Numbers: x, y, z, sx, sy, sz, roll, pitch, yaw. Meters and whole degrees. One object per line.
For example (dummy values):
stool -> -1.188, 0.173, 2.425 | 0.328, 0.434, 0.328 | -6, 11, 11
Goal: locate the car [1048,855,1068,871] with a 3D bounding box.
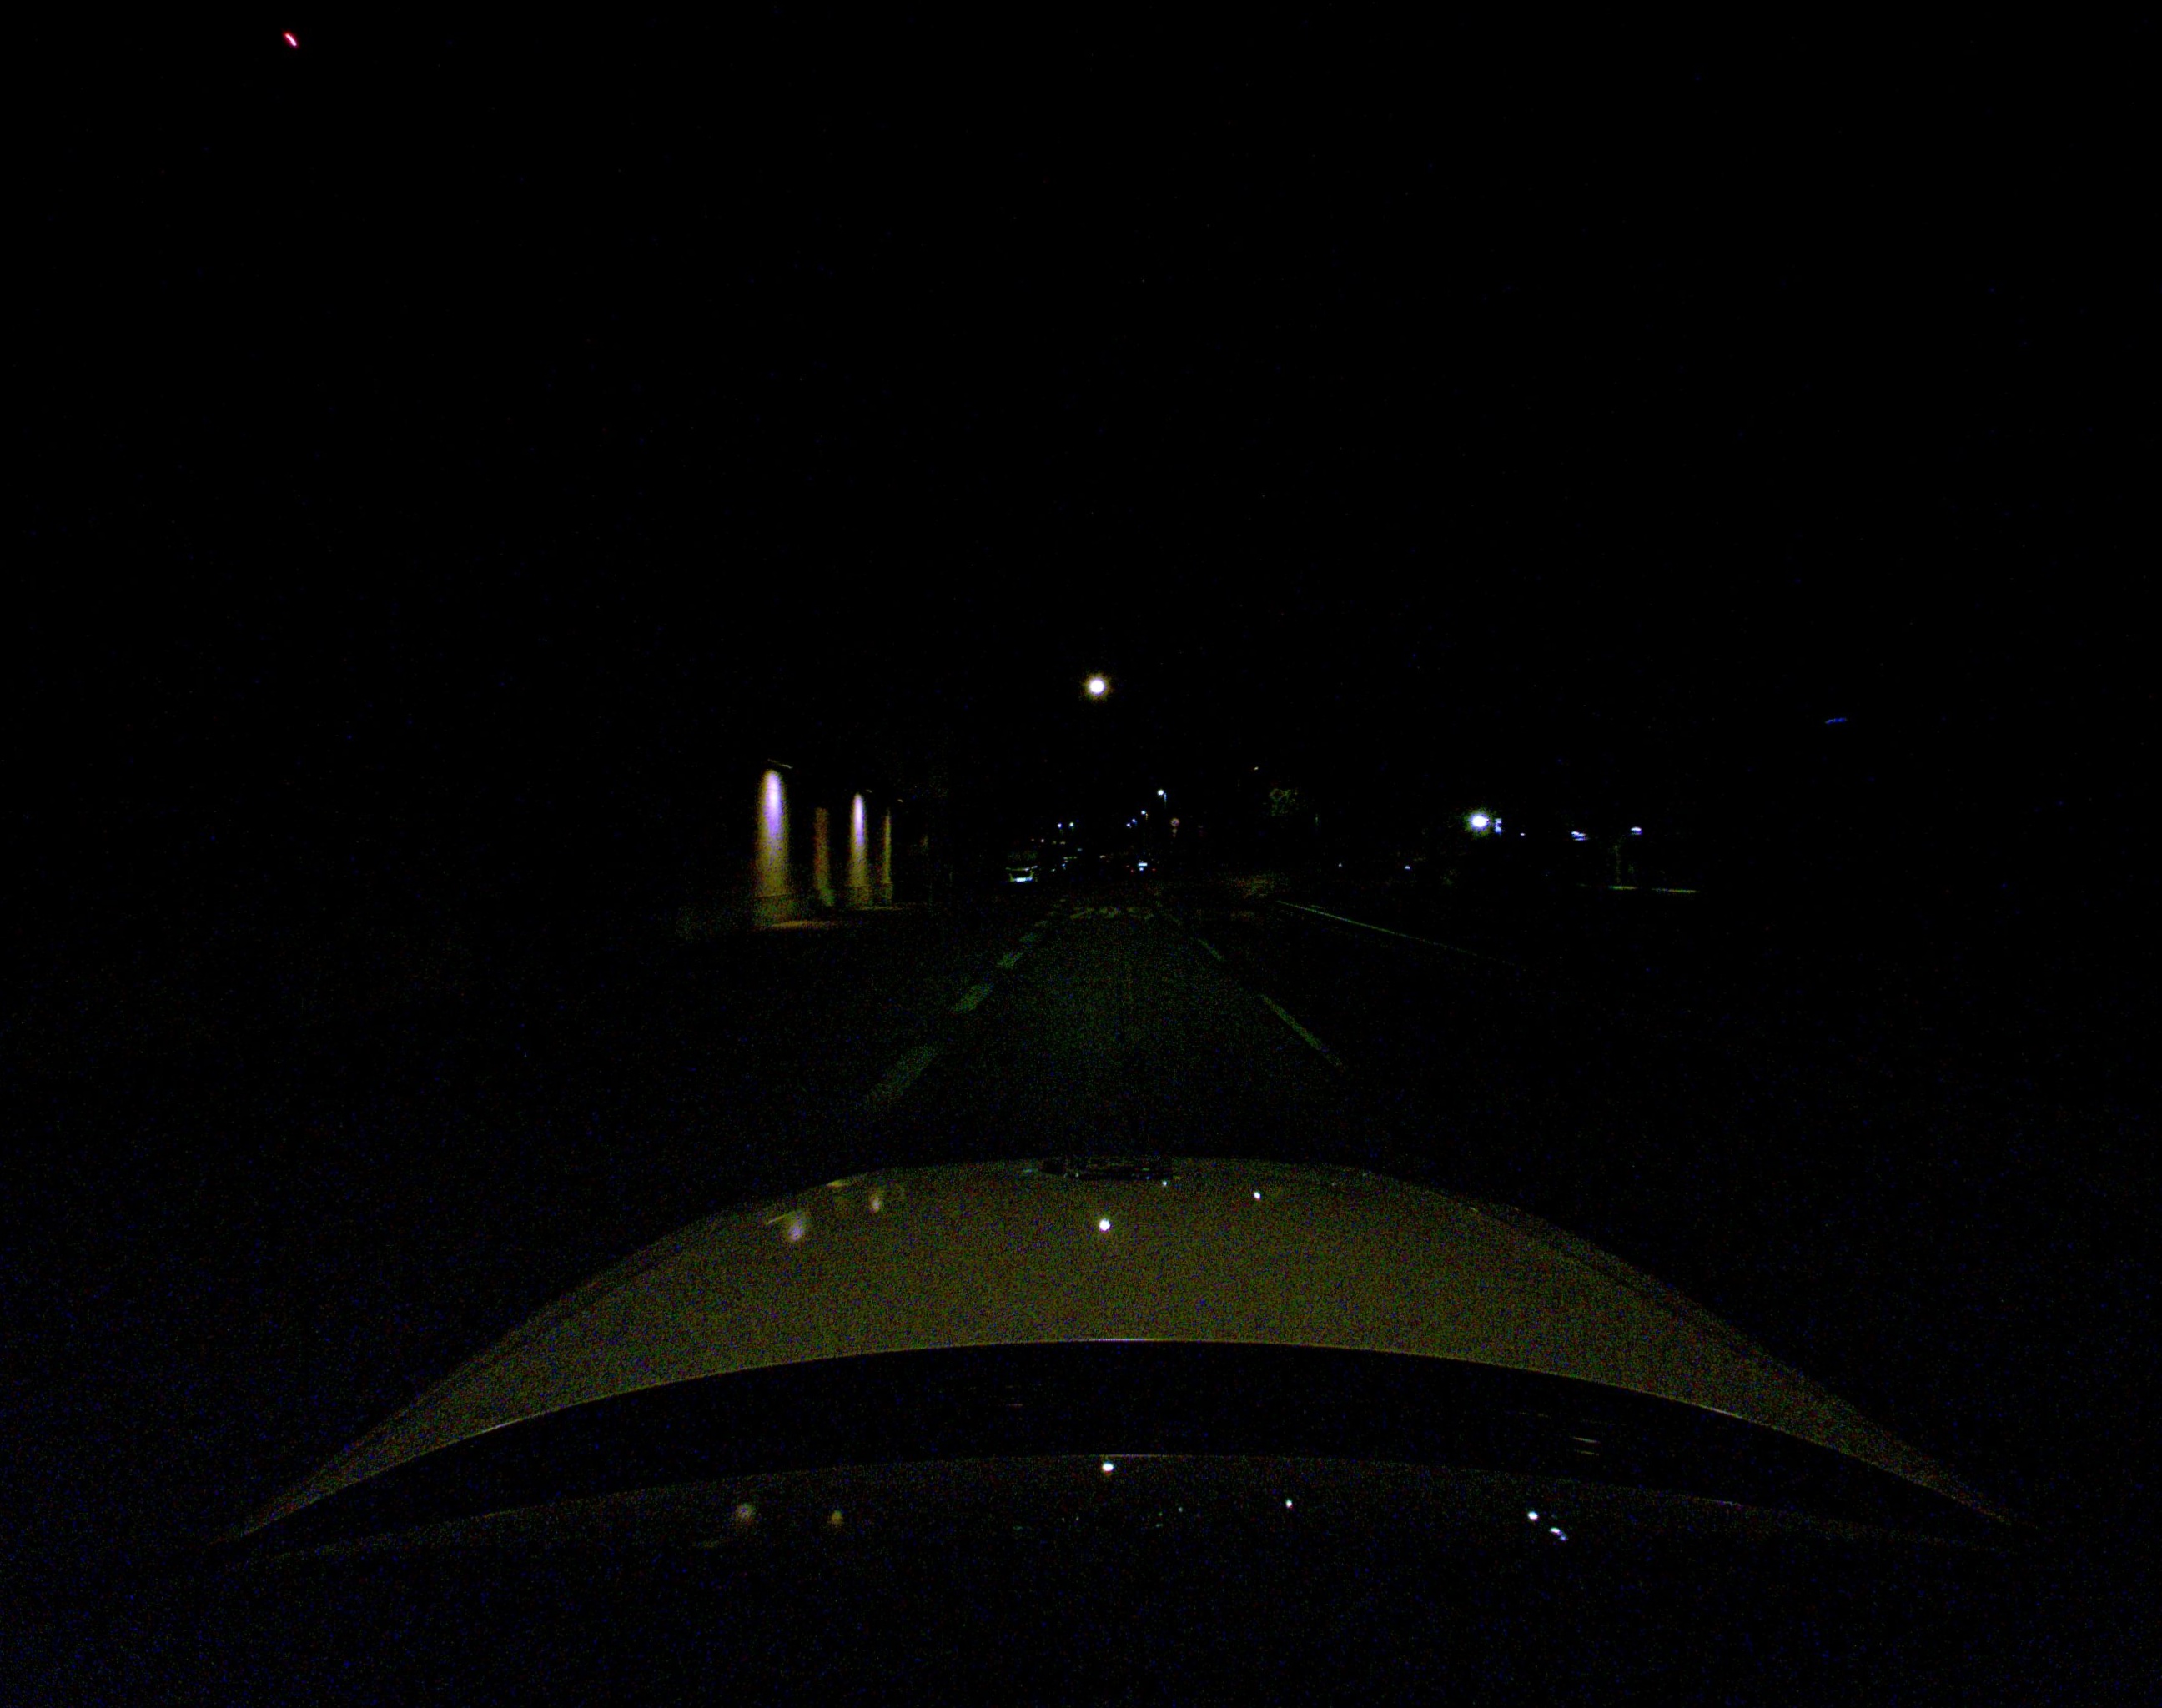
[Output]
car -> -2.179, 0.868, 78.127 | 1.699, 1.510, 4.100 | 0, -1, 1

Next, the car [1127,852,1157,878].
car -> 4.086, 0.713, 55.018 | 1.876, 1.603, 4.111 | -2, -1, 3

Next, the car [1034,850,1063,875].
car -> -2.559, 0.674, 65.908 | 1.986, 1.955, 4.807 | -1, 0, 2

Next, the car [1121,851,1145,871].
car -> 4.962, 0.677, 78.177 | 2.032, 1.694, 4.884 | -3, -1, 2

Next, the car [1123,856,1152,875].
car -> 4.183, 0.863, 60.556 | 1.956, 1.383, 4.002 | -1, -1, 2

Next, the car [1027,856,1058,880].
car -> -2.667, 0.961, 55.624 | 1.836, 1.507, 4.733 | -2, 0, -5

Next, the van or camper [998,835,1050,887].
van or camper -> -3.009, 0.388, 44.647 | 2.150, 2.535, 6.227 | -3, -1, 1

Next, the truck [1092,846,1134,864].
truck -> 5.172, 0.119, 132.595 | 6.758, 2.844, 1.999 | 0, 0, -2

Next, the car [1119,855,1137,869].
car -> 5.132, 0.898, 89.165 | 1.752, 1.445, 4.026 | -1, 0, 1

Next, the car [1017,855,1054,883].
car -> -2.737, 0.889, 50.149 | 1.885, 1.591, 4.375 | -2, 0, 1
